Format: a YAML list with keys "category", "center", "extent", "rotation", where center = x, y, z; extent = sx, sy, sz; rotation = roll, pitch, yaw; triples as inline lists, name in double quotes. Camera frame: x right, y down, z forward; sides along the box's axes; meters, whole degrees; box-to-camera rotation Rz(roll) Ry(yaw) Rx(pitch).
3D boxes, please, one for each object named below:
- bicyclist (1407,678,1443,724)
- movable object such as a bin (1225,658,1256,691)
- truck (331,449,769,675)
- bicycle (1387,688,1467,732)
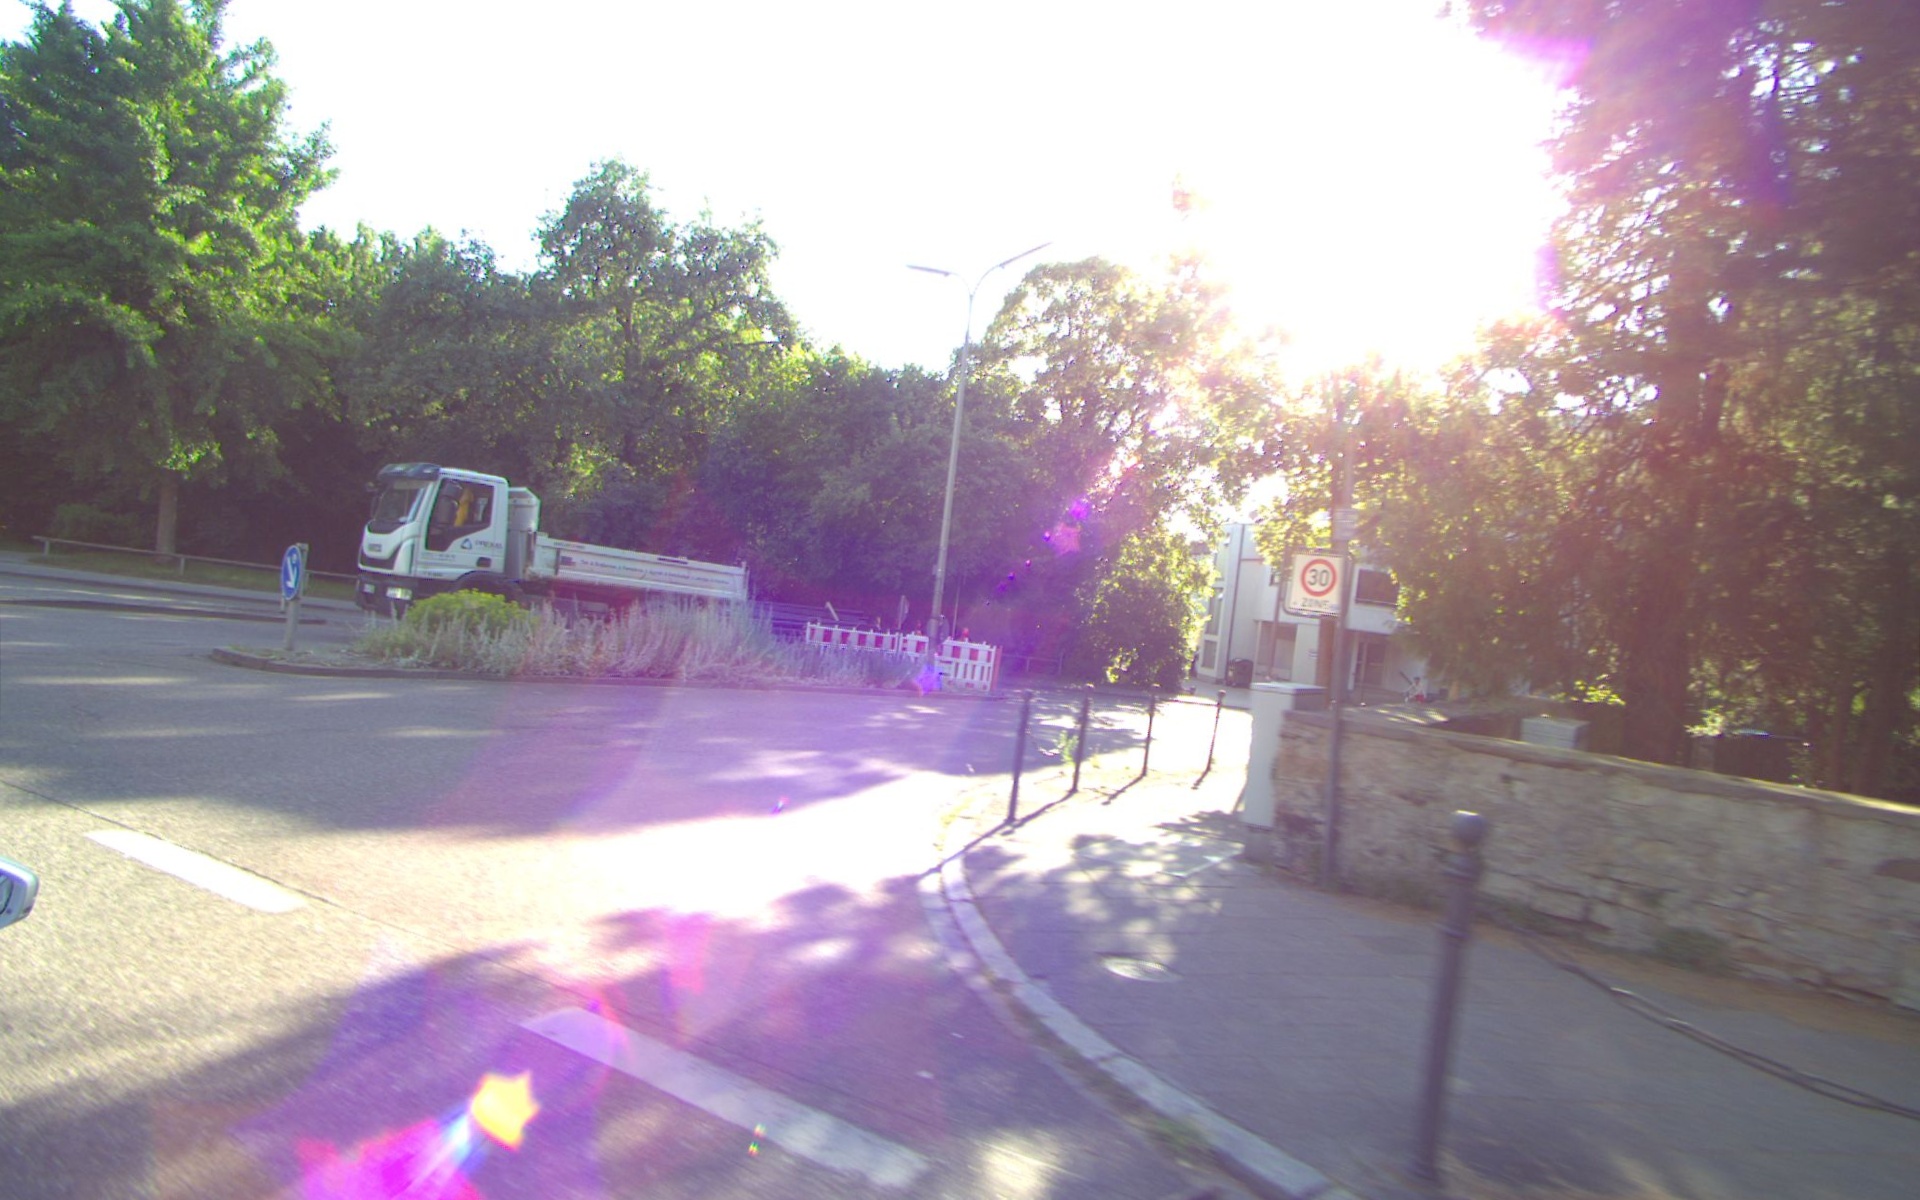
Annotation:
- category: "bicyclist"
  center: [17.112, 3.712, 37.003]
  extent: [0.635, 1.505, 0.755]
  rotation: [7, 4, -21]
- category: "movable object such as a bin"
  center: [13.839, 3.653, 49.625]
  extent: [1.075, 1.486, 1.081]
  rotation: [6, -1, -3]
- category: "truck"
  center: [-6.973, -0.473, 17.927]
  extent: [2.401, 2.928, 6.577]
  rotation: [7, -2, 43]
- category: "bicycle"
  center: [17.186, 4.036, 37.001]
  extent: [2.803, 1.223, 0.758]
  rotation: [8, 4, -21]
